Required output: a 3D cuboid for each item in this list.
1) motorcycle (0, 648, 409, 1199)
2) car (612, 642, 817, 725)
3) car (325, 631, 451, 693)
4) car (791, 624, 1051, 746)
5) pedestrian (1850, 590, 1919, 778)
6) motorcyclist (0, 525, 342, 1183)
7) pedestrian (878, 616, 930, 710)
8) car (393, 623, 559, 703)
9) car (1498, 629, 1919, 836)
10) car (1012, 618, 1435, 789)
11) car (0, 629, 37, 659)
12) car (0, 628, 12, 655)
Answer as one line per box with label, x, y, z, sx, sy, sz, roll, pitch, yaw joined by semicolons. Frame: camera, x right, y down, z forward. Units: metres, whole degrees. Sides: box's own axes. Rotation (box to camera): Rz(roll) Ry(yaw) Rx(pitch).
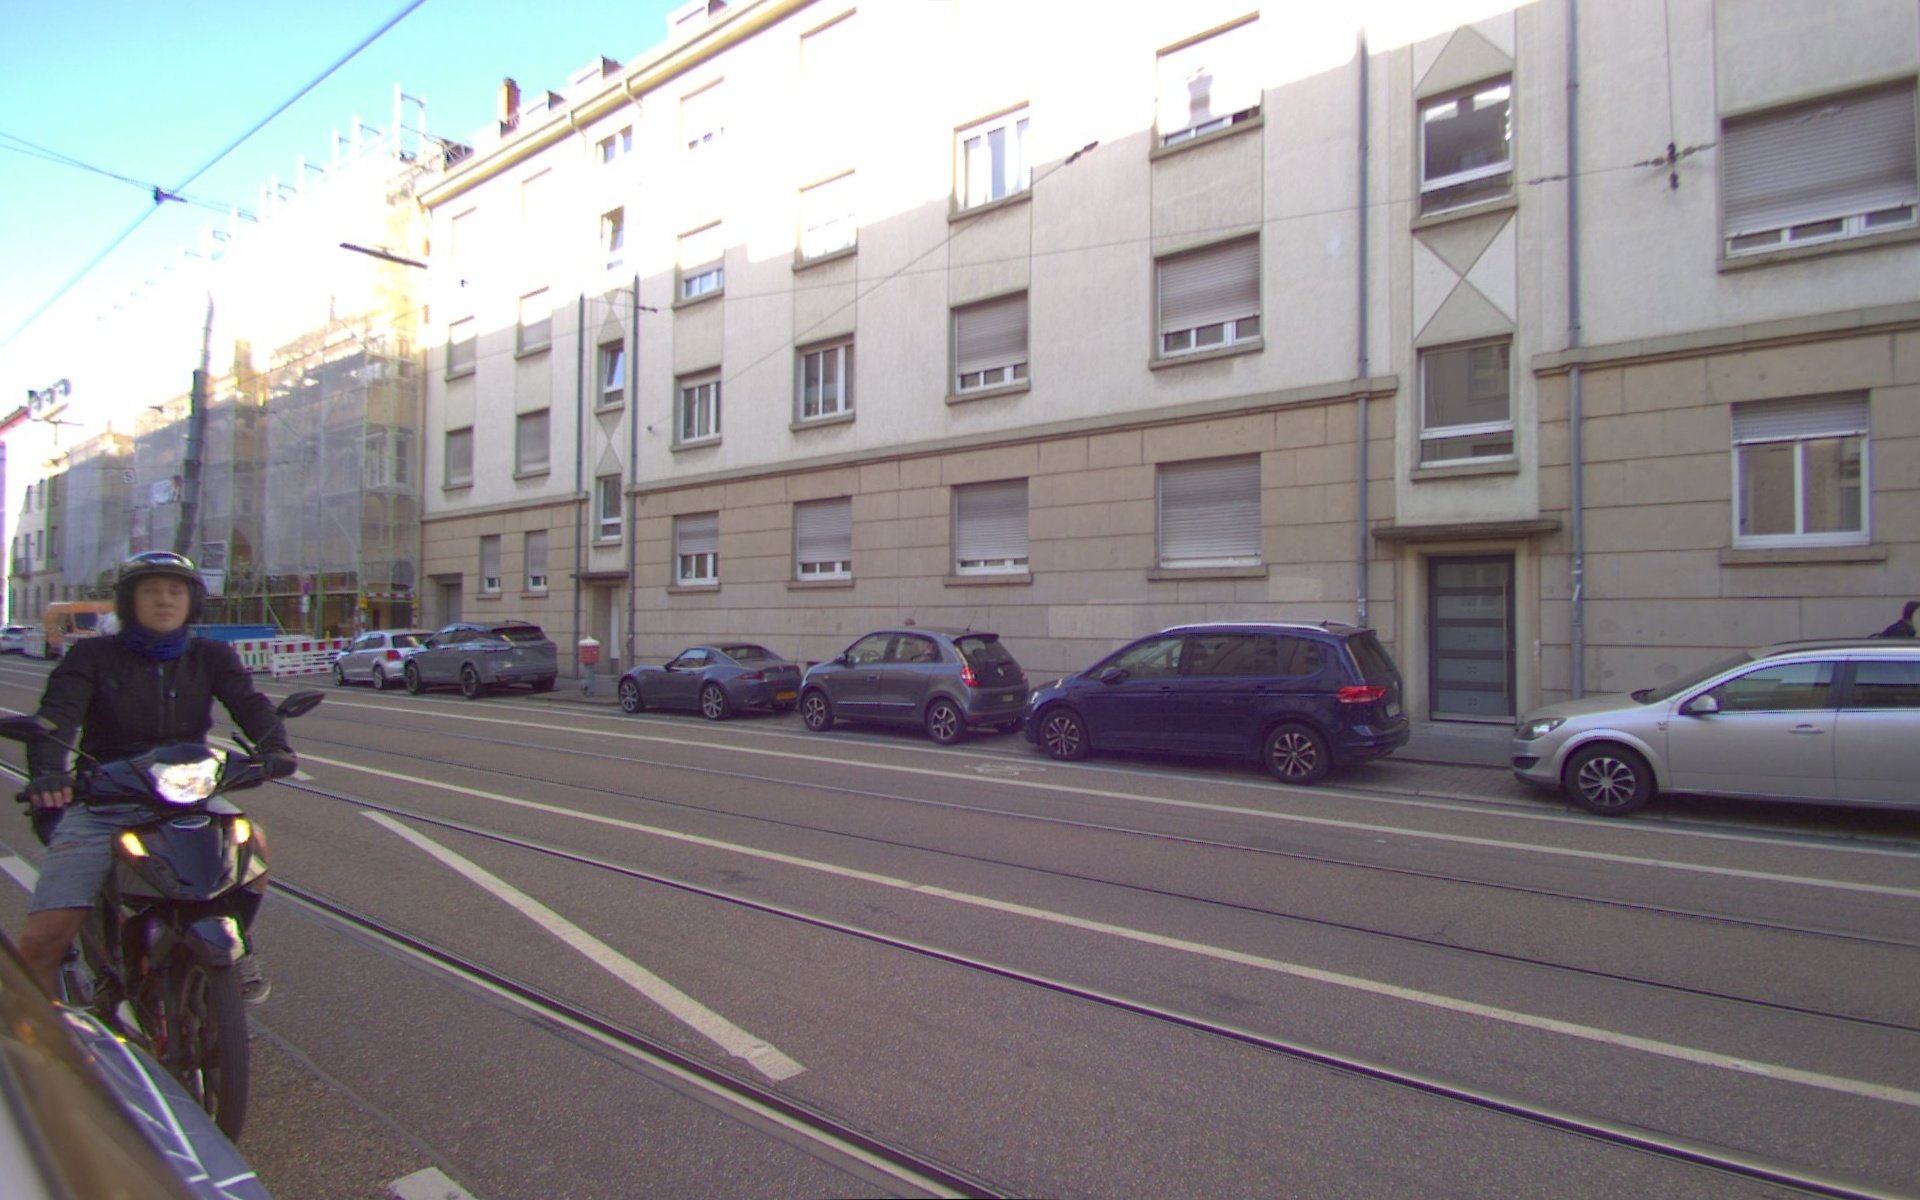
motorcycle;-2.632;0.822;3.232;2.272;1.302;0.781;-2;-3;41
car;-4.307;1.369;17.495;3.681;1.244;1.502;-1;-1;38
car;-14.377;1.502;25.392;3.506;1.423;1.524;-1;-1;38
car;-0.621;1.136;14.649;3.535;1.539;1.659;-1;-1;38
pedestrian;8.954;0.778;9.577;0.729;1.722;0.597;-2;-3;39
motorcyclist;-2.535;0.660;3.155;0.899;1.668;0.781;-2;-3;41
pedestrian;-0.950;1.057;17.132;0.693;1.553;0.563;-2;-3;39
car;-10.876;1.338;22.655;4.201;1.611;1.675;-1;-1;38
car;7.133;1.005;8.497;4.383;1.489;1.779;-1;-1;38
car;2.900;1.035;11.671;4.383;1.611;1.779;-1;-1;38
car;-50.059;2.278;53.335;3.964;1.498;1.662;-2;-1;42
car;-54.575;2.333;56.811;3.964;1.498;1.662;-2;-1;42
